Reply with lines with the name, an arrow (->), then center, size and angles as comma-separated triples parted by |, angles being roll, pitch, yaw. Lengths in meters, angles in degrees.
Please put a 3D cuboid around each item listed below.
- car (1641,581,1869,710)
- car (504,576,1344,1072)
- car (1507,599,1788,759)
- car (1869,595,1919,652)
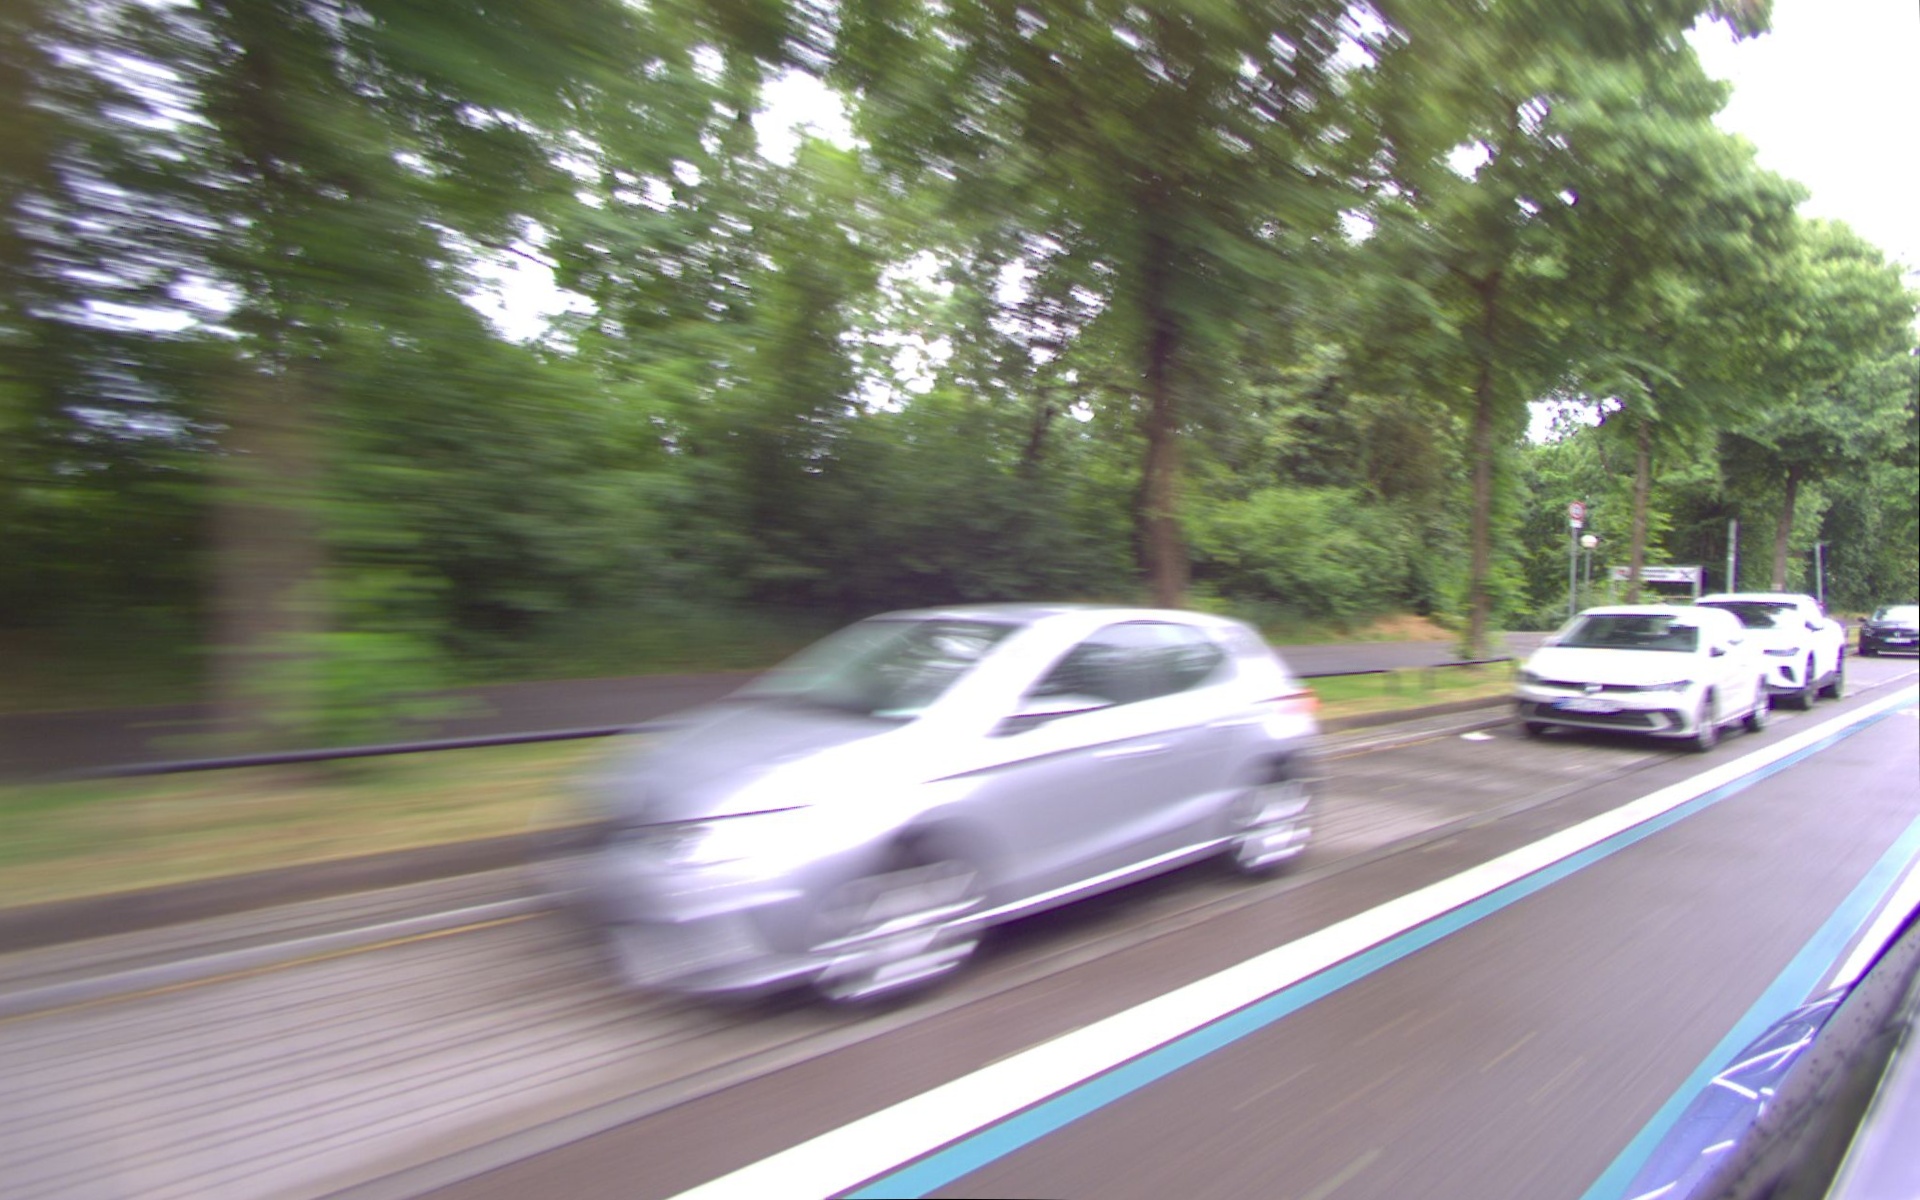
car -> 12.392, 0.589, 15.665 | 4.483, 1.683, 1.997 | 0, 1, -41
car -> 0.123, 0.656, 5.005 | 4.027, 1.472, 1.700 | 0, 0, -42
car -> 7.799, 0.734, 11.345 | 3.877, 1.472, 1.701 | 0, 0, -41
car -> 26.952, 0.645, 28.444 | 3.930, 1.495, 1.698 | 0, 2, -43
